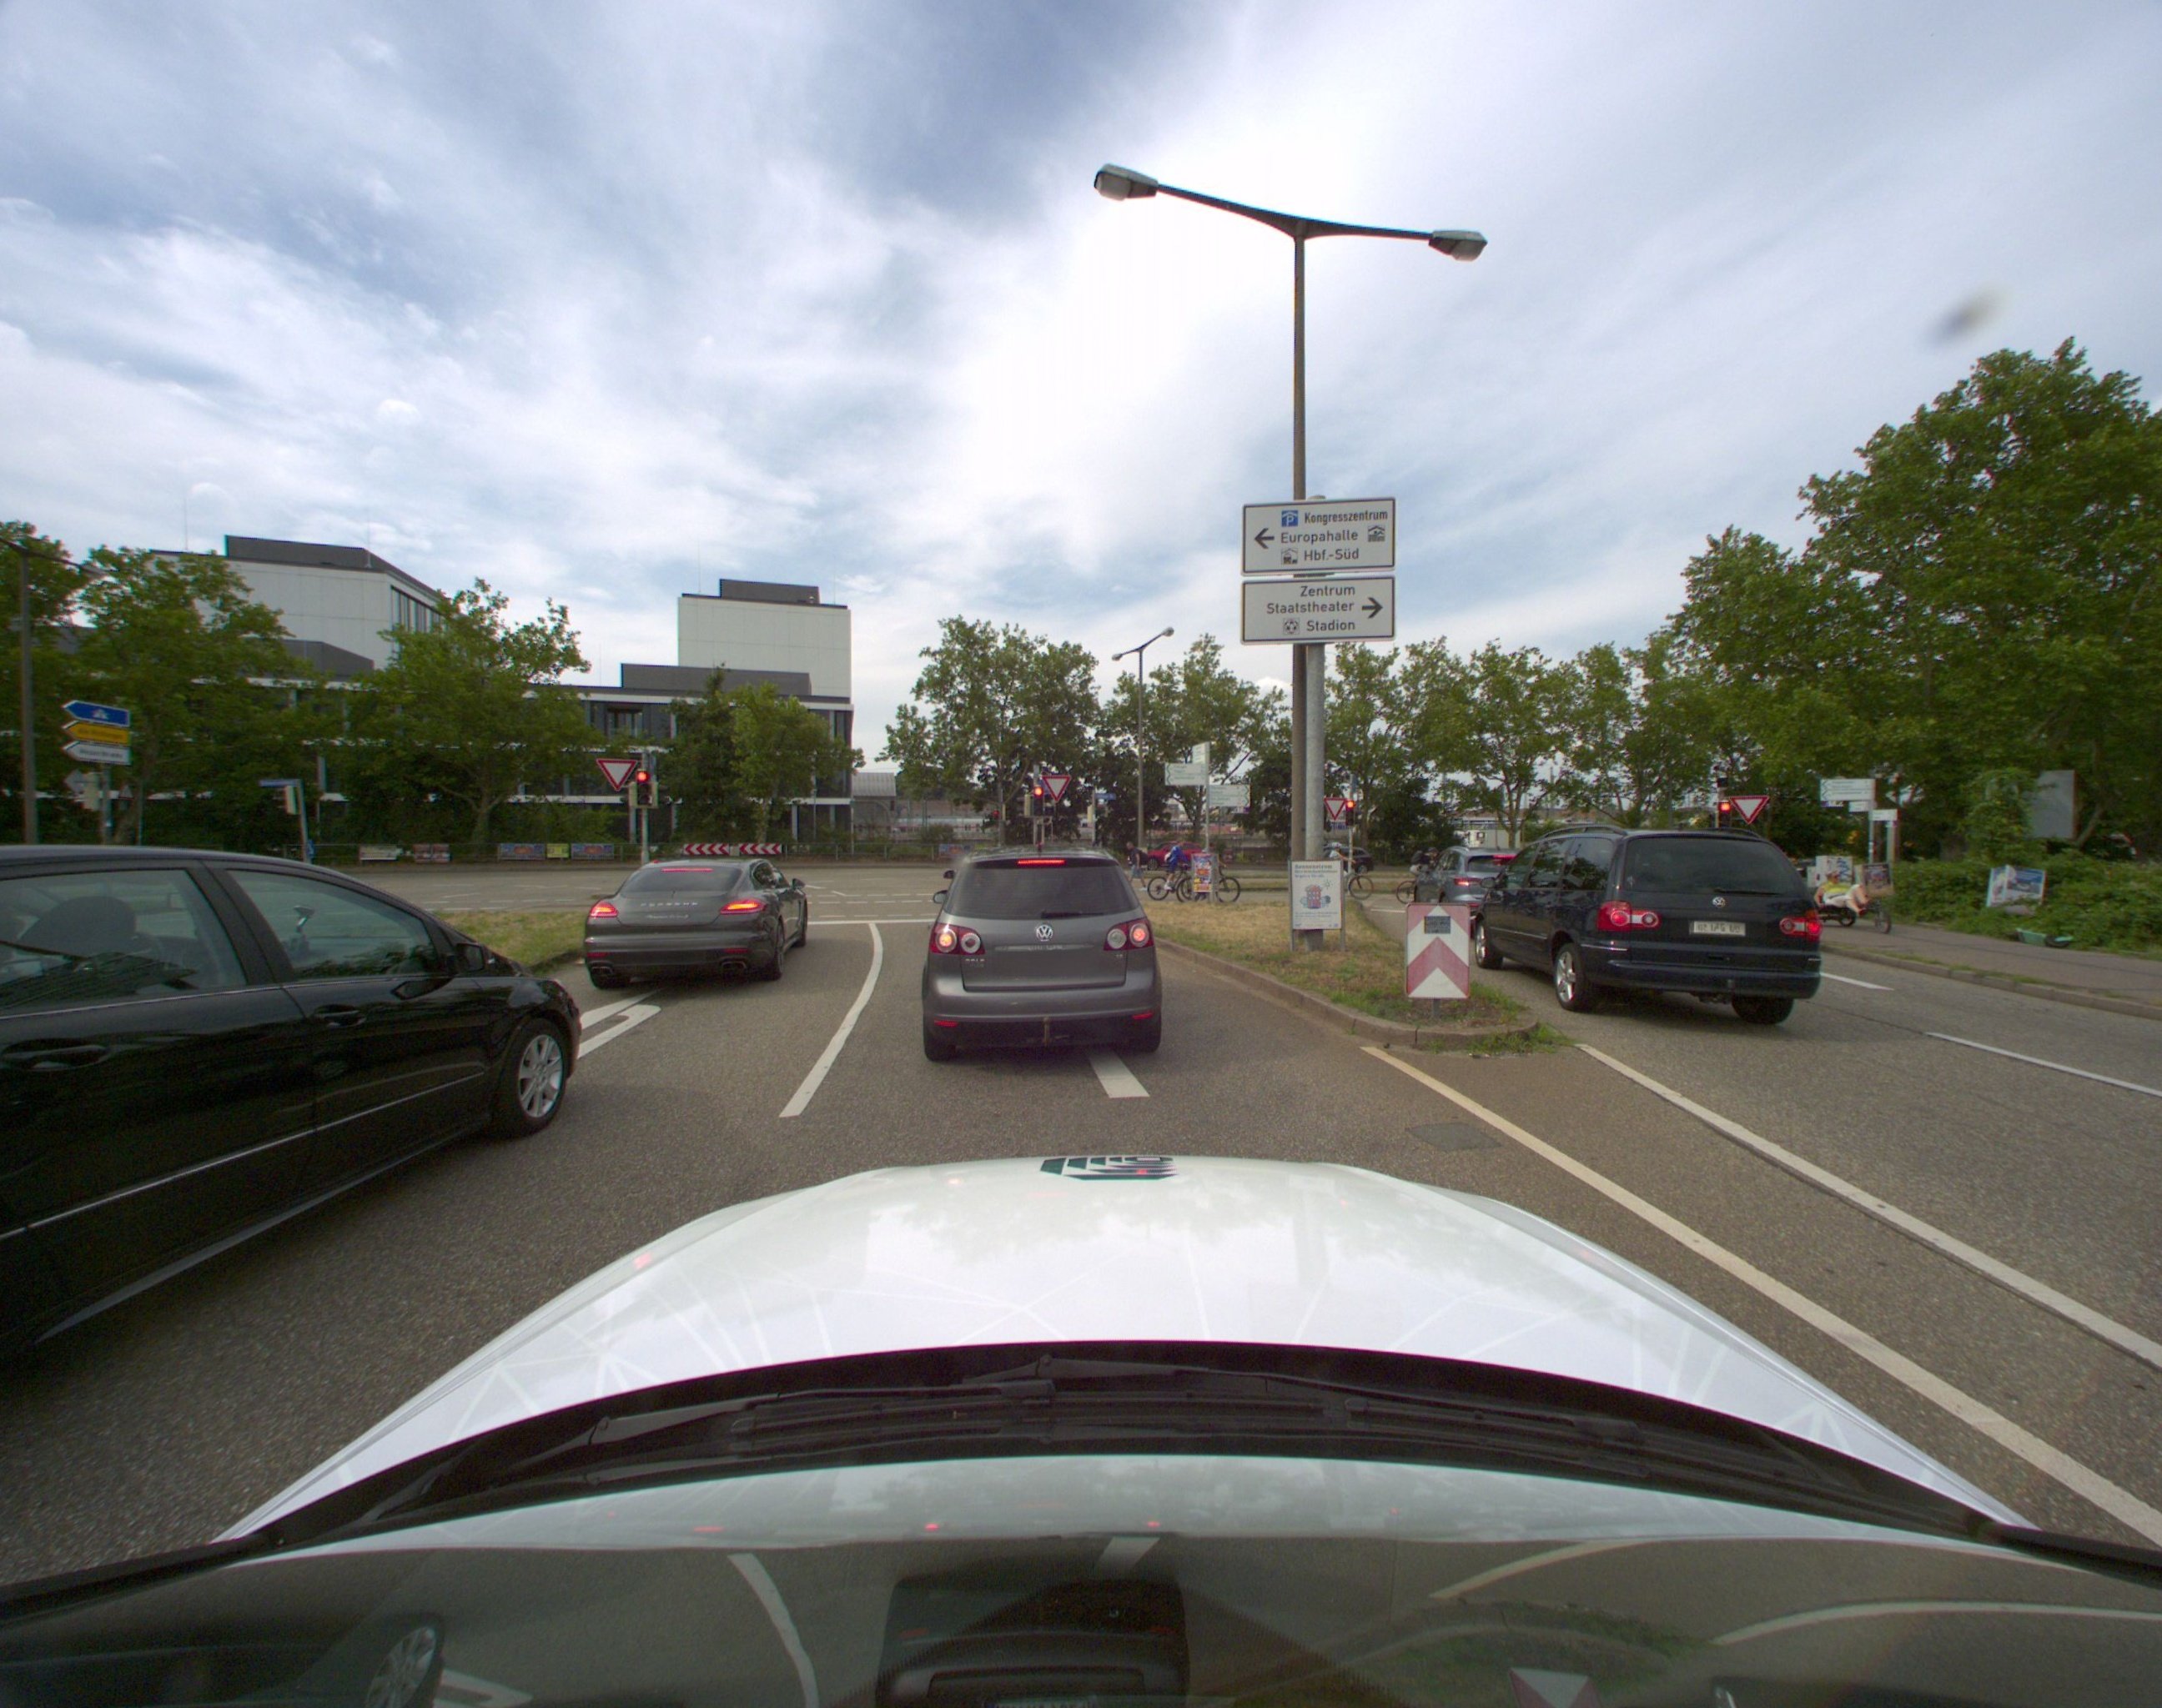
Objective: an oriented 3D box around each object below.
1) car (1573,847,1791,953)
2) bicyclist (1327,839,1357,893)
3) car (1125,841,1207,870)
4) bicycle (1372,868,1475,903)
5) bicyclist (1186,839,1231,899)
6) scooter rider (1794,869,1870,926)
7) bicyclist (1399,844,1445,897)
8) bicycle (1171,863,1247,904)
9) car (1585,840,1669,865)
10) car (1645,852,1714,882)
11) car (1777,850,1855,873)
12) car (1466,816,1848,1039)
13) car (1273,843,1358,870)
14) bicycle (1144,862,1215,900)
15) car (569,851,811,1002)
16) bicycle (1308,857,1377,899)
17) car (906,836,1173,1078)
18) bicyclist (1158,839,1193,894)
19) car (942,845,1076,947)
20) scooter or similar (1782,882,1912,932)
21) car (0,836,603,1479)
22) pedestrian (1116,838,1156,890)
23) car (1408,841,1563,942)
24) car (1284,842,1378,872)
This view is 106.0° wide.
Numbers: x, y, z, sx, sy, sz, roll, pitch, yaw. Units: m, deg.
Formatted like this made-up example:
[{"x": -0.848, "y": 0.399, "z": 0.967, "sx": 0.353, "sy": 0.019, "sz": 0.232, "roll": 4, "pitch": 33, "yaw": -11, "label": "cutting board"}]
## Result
[{"x": 10.919, "y": 0.730, "z": 15.193, "sx": 1.738, "sy": 1.643, "sz": 4.152, "roll": 2, "pitch": 0, "yaw": 13, "label": "car"}, {"x": 7.762, "y": 0.356, "z": 24.218, "sx": 0.775, "sy": 1.581, "sz": 0.656, "roll": 0, "pitch": 1, "yaw": 9, "label": "bicyclist"}, {"x": 4.471, "y": 0.079, "z": 42.971, "sx": 3.963, "sy": 1.448, "sz": 1.692, "roll": -1, "pitch": 0, "yaw": -19, "label": "car"}, {"x": 9.510, "y": 0.862, "z": 22.700, "sx": 2.564, "sy": 0.890, "sz": 0.707, "roll": 0, "pitch": 1, "yaw": 15, "label": "bicycle"}, {"x": 3.365, "y": 0.374, "z": 21.516, "sx": 1.018, "sy": 1.539, "sz": 0.625, "roll": -1, "pitch": 1, "yaw": -15, "label": "bicyclist"}, {"x": 15.468, "y": 0.878, "z": 16.805, "sx": 0.800, "sy": 1.137, "sz": 0.920, "roll": 0, "pitch": 0, "yaw": 12, "label": "scooter rider"}, {"x": 9.489, "y": 0.451, "z": 22.710, "sx": 1.105, "sy": 1.436, "sz": 0.650, "roll": 0, "pitch": 1, "yaw": 15, "label": "bicyclist"}, {"x": 3.383, "y": 0.779, "z": 21.540, "sx": 1.904, "sy": 1.013, "sz": 0.625, "roll": -1, "pitch": 1, "yaw": -15, "label": "bicycle"}, {"x": 32.361, "y": -0.105, "z": 48.254, "sx": 4.336, "sy": 1.448, "sz": 1.752, "roll": -1, "pitch": 0, "yaw": -15, "label": "car"}, {"x": 30.343, "y": 0.646, "z": 41.324, "sx": 2.716, "sy": 1.422, "sz": 1.491, "roll": 0, "pitch": 0, "yaw": -16, "label": "car"}, {"x": 48.306, "y": 0.462, "z": 53.534, "sx": 4.336, "sy": 1.448, "sz": 1.752, "roll": -1, "pitch": 0, "yaw": -15, "label": "car"}, {"x": 5.575, "y": 0.575, "z": 8.607, "sx": 1.739, "sy": 1.724, "sz": 4.151, "roll": 2, "pitch": 0, "yaw": 11, "label": "car"}, {"x": 13.202, "y": 0.110, "z": 45.803, "sx": 4.336, "sy": 1.448, "sz": 1.752, "roll": -1, "pitch": 0, "yaw": -15, "label": "car"}, {"x": 2.783, "y": 0.750, "z": 23.036, "sx": 1.905, "sy": 1.013, "sz": 0.625, "roll": -1, "pitch": 1, "yaw": -16, "label": "bicycle"}, {"x": -4.632, "y": 0.698, "z": 10.436, "sx": 1.821, "sy": 1.414, "sz": 4.754, "roll": 0, "pitch": 1, "yaw": -13, "label": "car"}, {"x": 7.767, "y": 0.702, "z": 24.223, "sx": 1.890, "sy": 1.210, "sz": 0.644, "roll": 0, "pitch": 1, "yaw": 8, "label": "bicycle"}, {"x": -0.460, "y": 0.649, "z": 7.368, "sx": 1.739, "sy": 1.546, "sz": 4.073, "roll": -1, "pitch": 0, "yaw": -6, "label": "car"}, {"x": 2.665, "y": 0.339, "z": 23.001, "sx": 0.840, "sy": 1.529, "sz": 0.625, "roll": -1, "pitch": 1, "yaw": -16, "label": "bicyclist"}, {"x": -1.393, "y": 0.599, "z": 14.113, "sx": 1.743, "sy": 1.482, "sz": 4.063, "roll": -1, "pitch": 0, "yaw": -14, "label": "car"}, {"x": 15.372, "y": 1.030, "z": 16.455, "sx": 0.800, "sy": 0.849, "sz": 2.394, "roll": 0, "pitch": 0, "yaw": 12, "label": "scooter or similar"}, {"x": -3.651, "y": 0.731, "z": 2.969, "sx": 1.755, "sy": 1.575, "sz": 4.028, "roll": 0, "pitch": 1, "yaw": -6, "label": "car"}, {"x": 1.835, "y": 0.332, "z": 27.268, "sx": 1.051, "sy": 1.710, "sz": 0.847, "roll": 0, "pitch": 1, "yaw": -21, "label": "pedestrian"}, {"x": 7.391, "y": 0.611, "z": 15.305, "sx": 1.679, "sy": 1.585, "sz": 4.171, "roll": 2, "pitch": 0, "yaw": 13, "label": "car"}, {"x": 12.754, "y": 0.127, "z": 41.568, "sx": 4.336, "sy": 1.448, "sz": 1.752, "roll": -1, "pitch": 0, "yaw": -15, "label": "car"}]
